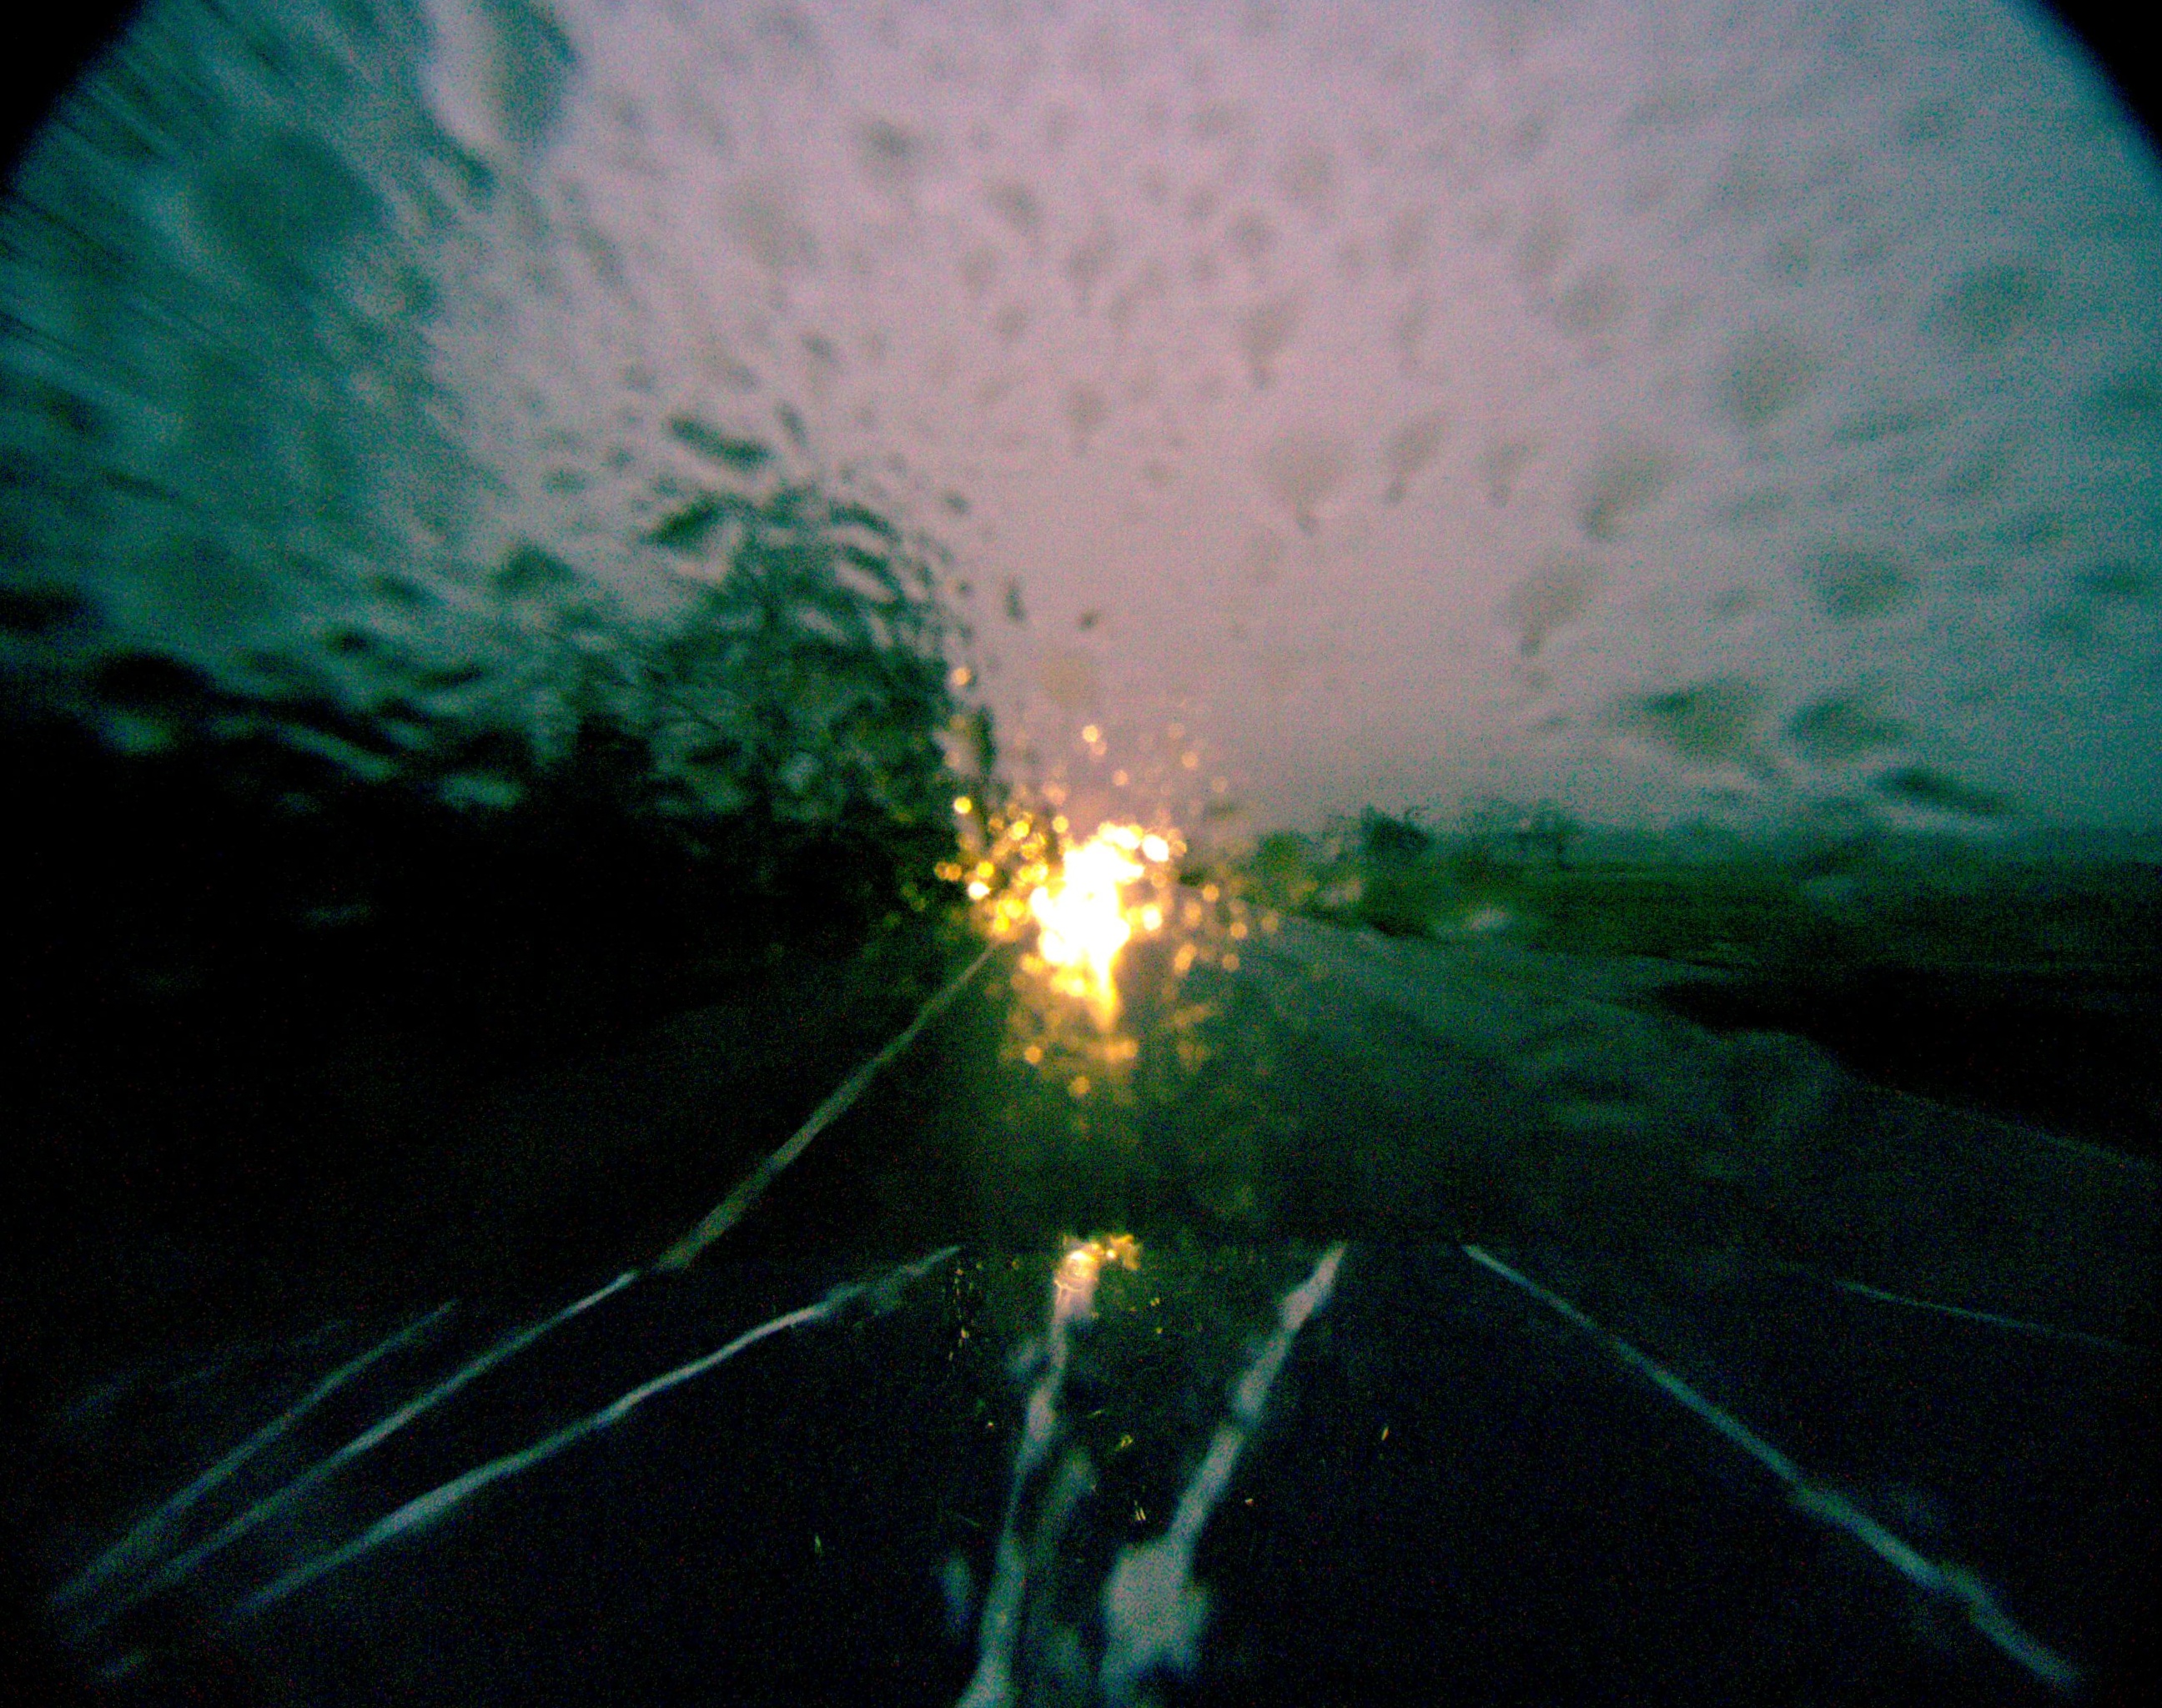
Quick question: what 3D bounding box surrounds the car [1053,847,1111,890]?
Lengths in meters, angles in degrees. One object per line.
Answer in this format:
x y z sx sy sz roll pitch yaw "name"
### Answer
0.123 0.651 38.821 2.704 1.974 5.804 -2 1 1 "car"
